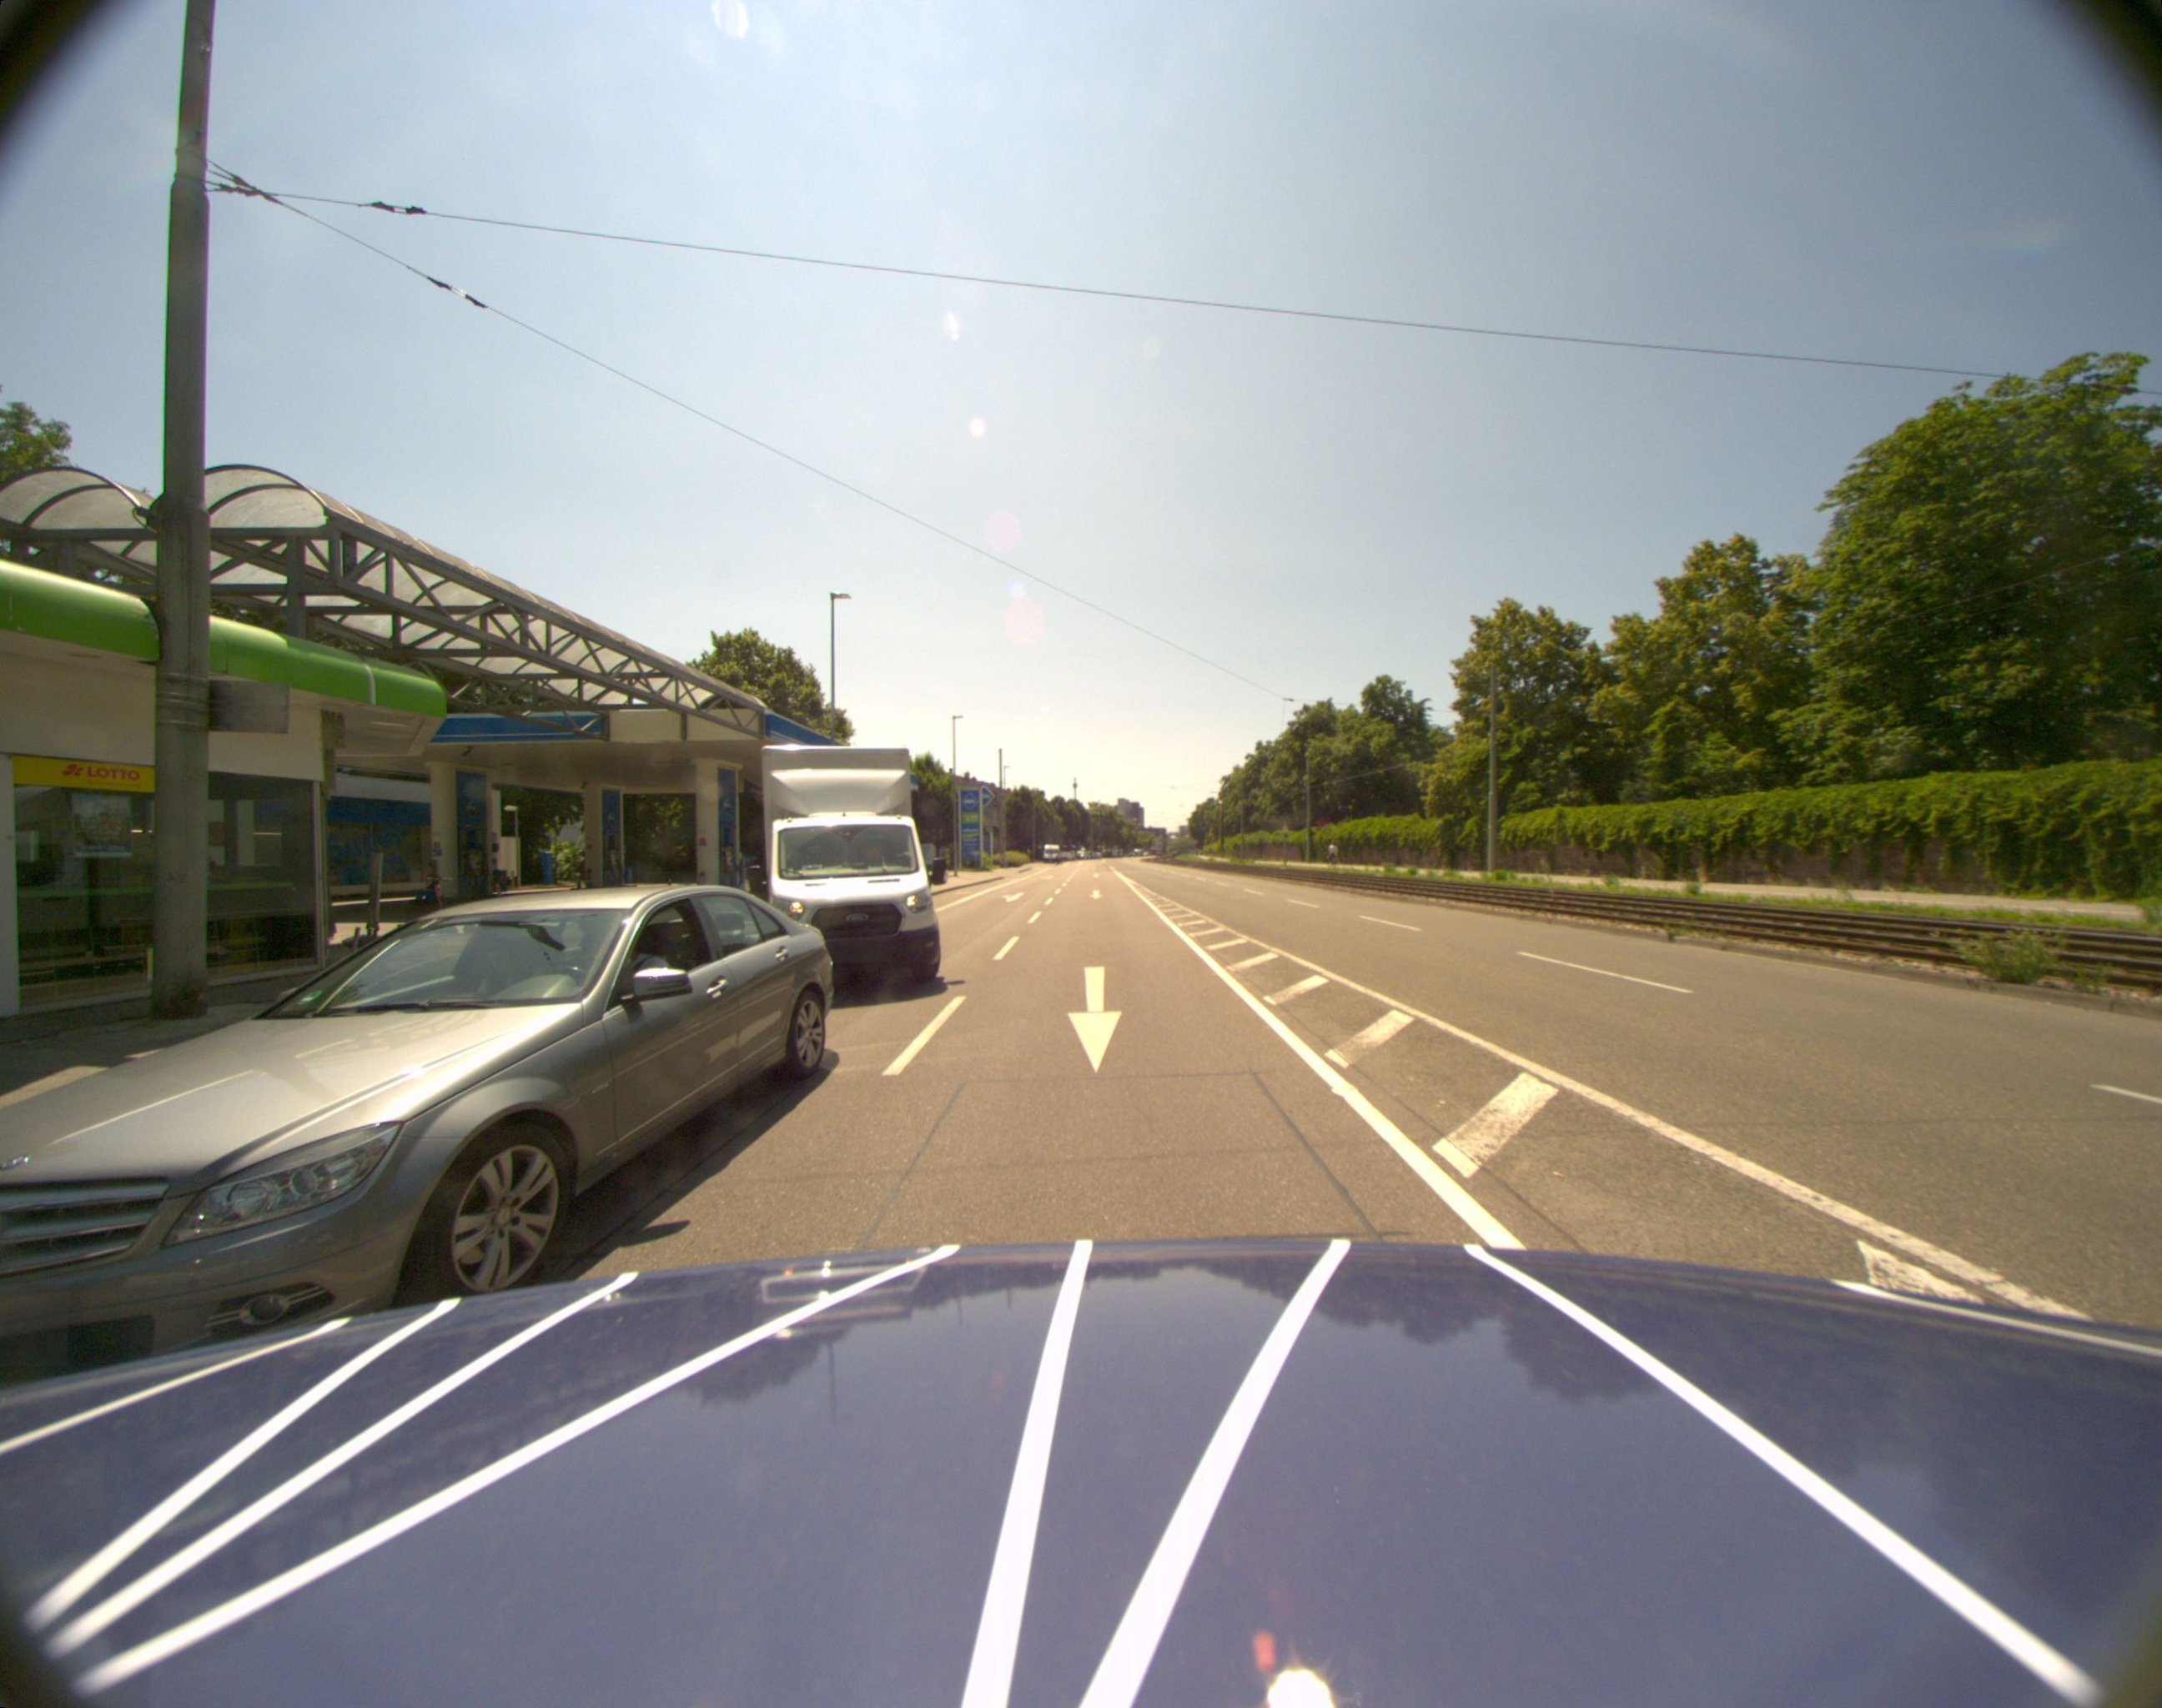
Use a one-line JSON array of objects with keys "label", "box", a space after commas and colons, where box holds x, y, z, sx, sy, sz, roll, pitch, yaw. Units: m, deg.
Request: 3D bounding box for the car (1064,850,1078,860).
[{"label": "car", "box": [-1.707, 0.130, 126.903, 1.912, 1.488, 4.000, -2, 1, 4]}]

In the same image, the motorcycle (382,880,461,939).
[{"label": "motorcycle", "box": [-12.834, 1.079, 14.793, 1.157, 1.107, 0.396, 1, 0, -1]}]

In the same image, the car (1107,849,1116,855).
[{"label": "car", "box": [8.270, -0.448, 203.609, 1.911, 1.488, 4.002, -2, 1, 10]}]

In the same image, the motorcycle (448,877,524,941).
[{"label": "motorcycle", "box": [-11.588, 1.064, 14.806, 1.157, 1.203, 0.364, 1, 0, -1]}]

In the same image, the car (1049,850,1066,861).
[{"label": "car", "box": [-3.360, 0.207, 109.352, 1.912, 1.488, 4.000, -2, 1, 4]}]

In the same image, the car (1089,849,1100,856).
[{"label": "car", "box": [3.070, -0.270, 172.229, 1.911, 1.488, 4.002, -2, 1, 10]}]

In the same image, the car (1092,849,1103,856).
[{"label": "car", "box": [3.960, -0.381, 177.316, 1.911, 1.488, 4.002, -2, 1, 10]}]

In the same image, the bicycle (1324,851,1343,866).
[{"label": "bicycle", "box": [18.211, 0.337, 54.937, 0.618, 1.049, 1.977, -2, 1, -2]}]

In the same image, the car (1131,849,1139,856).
[{"label": "car", "box": [15.005, -0.388, 211.003, 1.945, 1.674, 4.002, -2, 1, 11]}]

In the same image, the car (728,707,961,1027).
[{"label": "car", "box": [-3.924, 0.093, 12.304, 2.232, 3.316, 8.621, -3, 1, -19]}]

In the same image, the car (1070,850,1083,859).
[{"label": "car", "box": [-0.792, 0.144, 137.884, 1.912, 1.488, 4.000, -2, 1, 4]}]

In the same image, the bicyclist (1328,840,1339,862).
[{"label": "bicyclist", "box": [18.211, -0.221, 54.882, 0.483, 1.603, 0.768, -2, 1, -3]}]

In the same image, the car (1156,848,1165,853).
[{"label": "car", "box": [24.912, -1.006, 237.783, 1.799, 1.488, 3.968, -2, 0, 20]}]

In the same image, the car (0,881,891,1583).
[{"label": "car", "box": [-2.793, 1.029, 4.478, 1.717, 1.464, 5.302, -3, 0, 3]}]

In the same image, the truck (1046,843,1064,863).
[{"label": "truck", "box": [-3.479, -0.191, 101.849, 1.998, 2.462, 5.237, -2, 1, 1]}]
